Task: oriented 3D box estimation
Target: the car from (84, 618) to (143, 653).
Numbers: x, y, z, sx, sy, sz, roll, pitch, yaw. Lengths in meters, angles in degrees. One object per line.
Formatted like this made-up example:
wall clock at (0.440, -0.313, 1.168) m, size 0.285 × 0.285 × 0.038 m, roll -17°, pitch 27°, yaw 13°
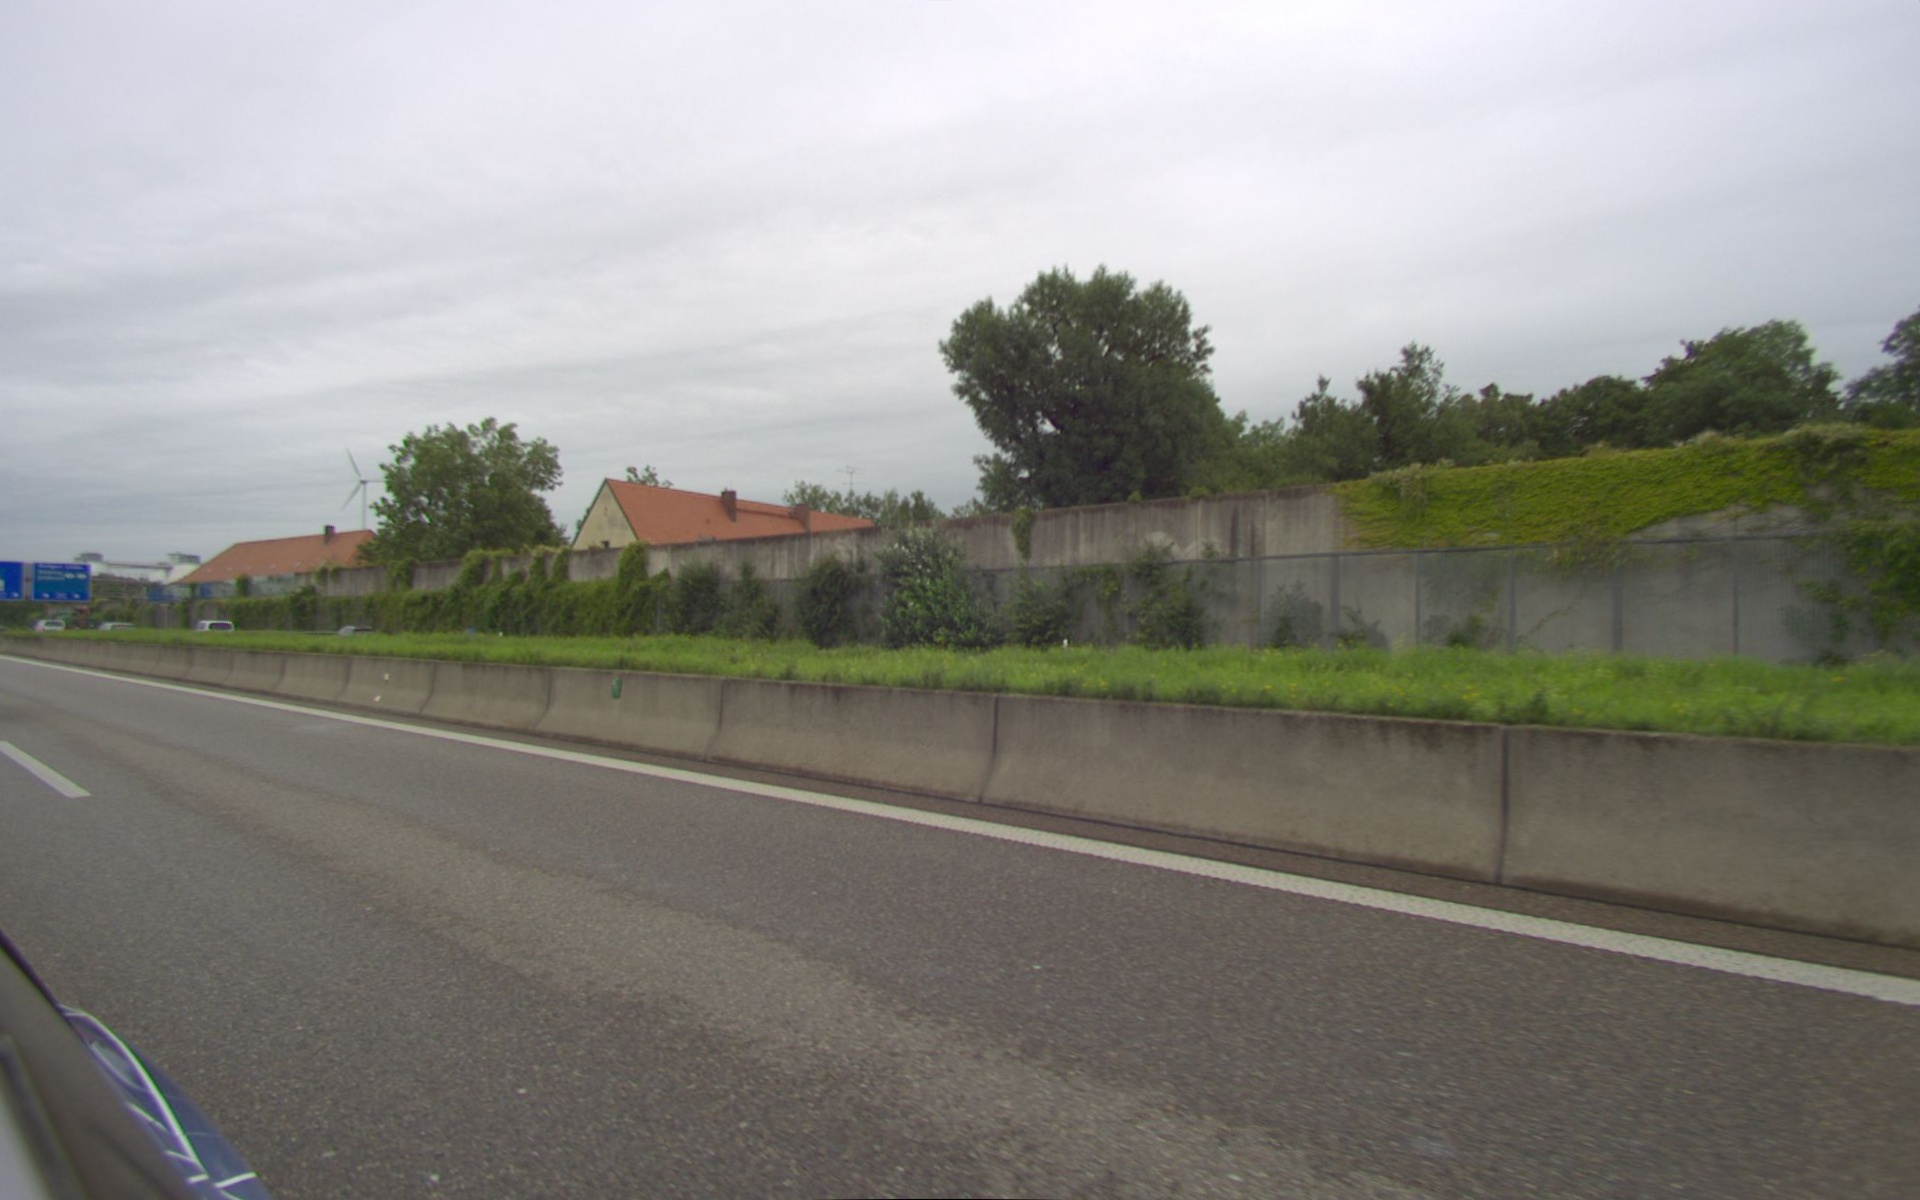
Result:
car at (-50.654, 2.088, 60.532) m, size 4.397 × 2.029 × 1.973 m, roll -1°, pitch 0°, yaw 40°

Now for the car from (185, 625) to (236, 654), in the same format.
car at (-56.592, 2.959, 76.400) m, size 5.224 × 2.029 × 1.973 m, roll -1°, pitch 0°, yaw 40°

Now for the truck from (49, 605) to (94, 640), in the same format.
truck at (-101.065, 2.555, 115.076) m, size 8.331 × 3.805 × 2.664 m, roll -1°, pitch 0°, yaw 40°

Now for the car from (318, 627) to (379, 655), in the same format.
car at (-37.666, 2.482, 62.298) m, size 3.996 × 1.586 × 1.974 m, roll -1°, pitch 0°, yaw 39°

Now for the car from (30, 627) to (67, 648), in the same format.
car at (-89.703, 3.678, 99.585) m, size 5.191 × 2.029 × 2.058 m, roll -2°, pitch -3°, yaw 41°
